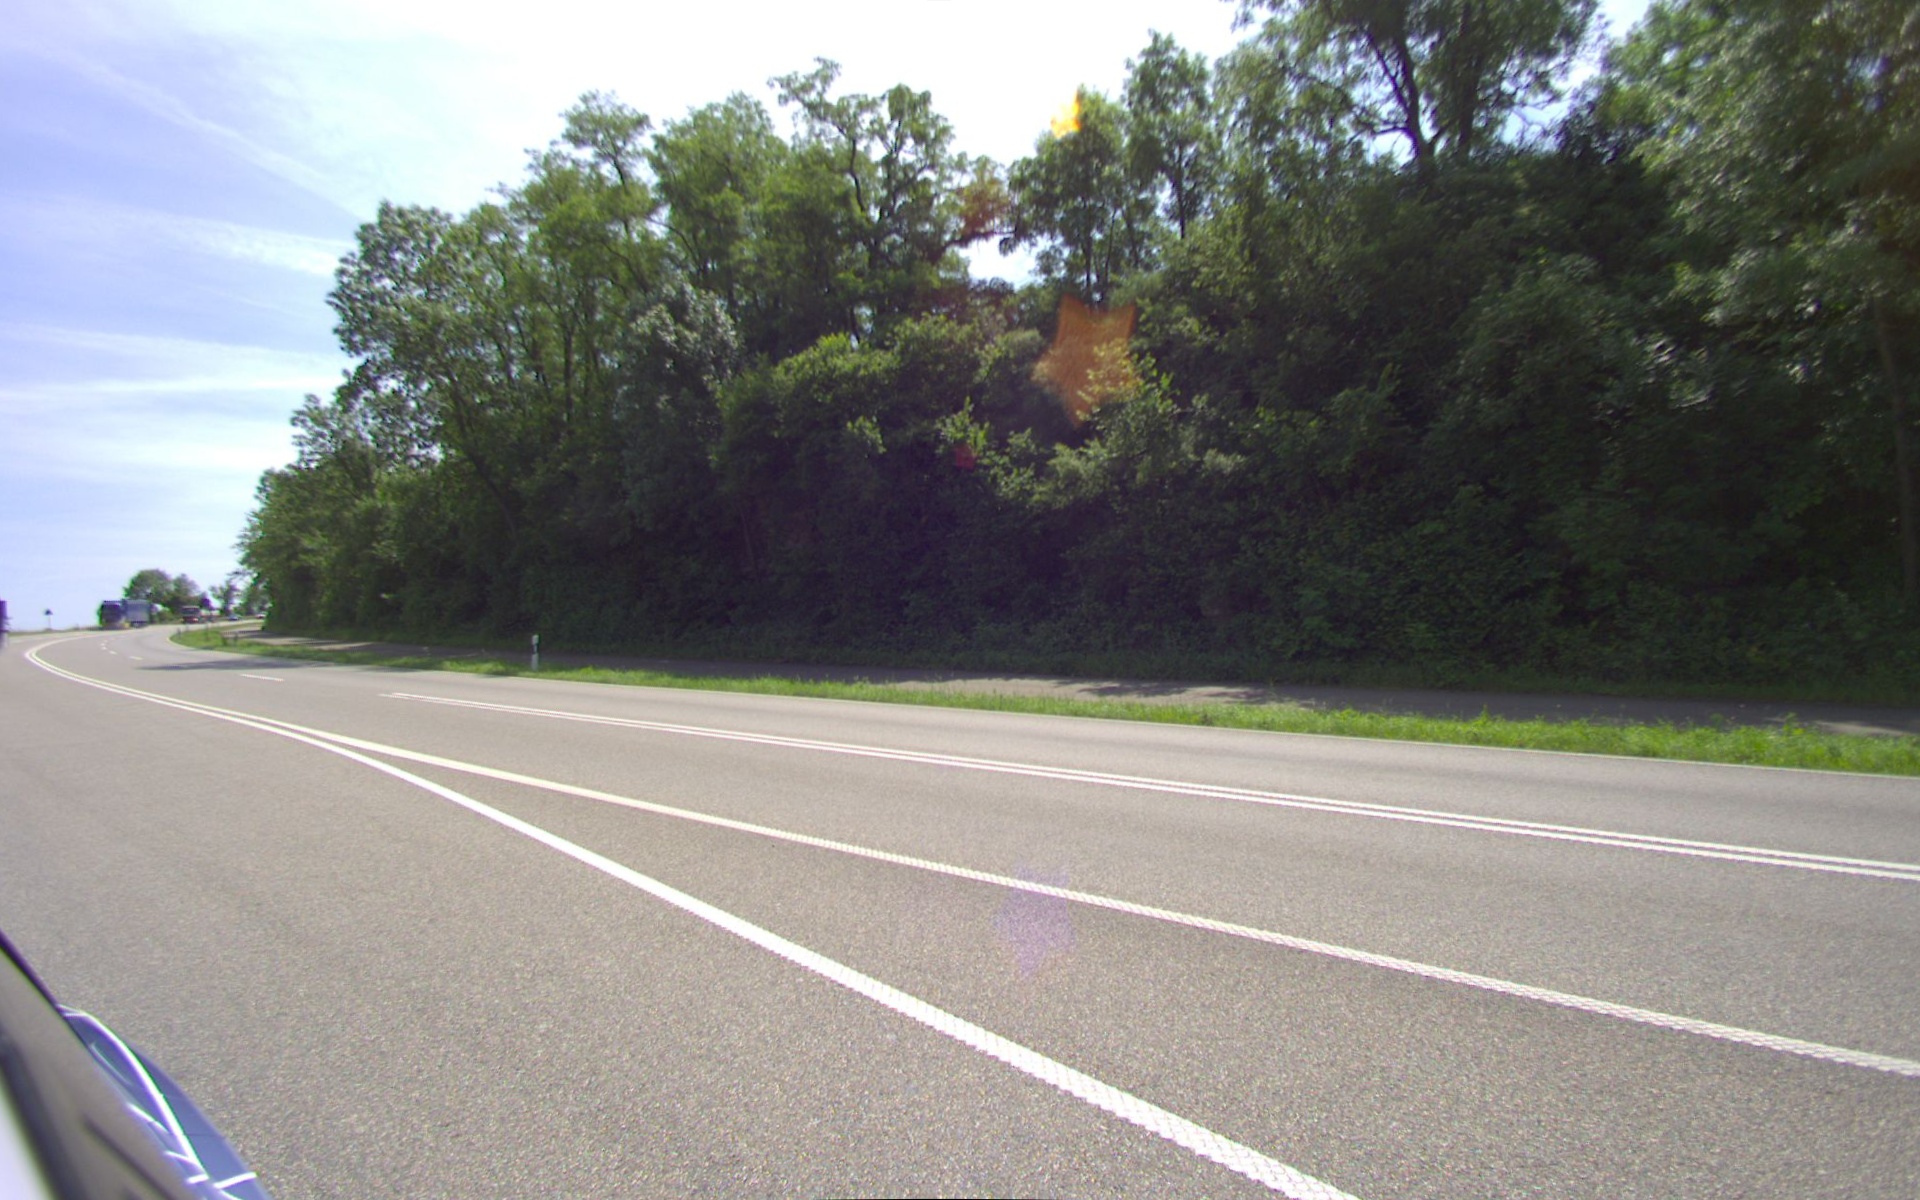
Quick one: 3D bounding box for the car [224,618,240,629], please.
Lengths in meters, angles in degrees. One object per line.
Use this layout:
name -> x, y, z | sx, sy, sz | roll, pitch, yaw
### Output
car -> -147.819, 4.735, 205.578 | 1.886, 2.029, 4.189 | -1, 0, -25

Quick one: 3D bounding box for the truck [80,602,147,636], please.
truck -> -117.947, 2.612, 141.250 | 4.326, 4.493, 14.758 | -1, 0, -29
